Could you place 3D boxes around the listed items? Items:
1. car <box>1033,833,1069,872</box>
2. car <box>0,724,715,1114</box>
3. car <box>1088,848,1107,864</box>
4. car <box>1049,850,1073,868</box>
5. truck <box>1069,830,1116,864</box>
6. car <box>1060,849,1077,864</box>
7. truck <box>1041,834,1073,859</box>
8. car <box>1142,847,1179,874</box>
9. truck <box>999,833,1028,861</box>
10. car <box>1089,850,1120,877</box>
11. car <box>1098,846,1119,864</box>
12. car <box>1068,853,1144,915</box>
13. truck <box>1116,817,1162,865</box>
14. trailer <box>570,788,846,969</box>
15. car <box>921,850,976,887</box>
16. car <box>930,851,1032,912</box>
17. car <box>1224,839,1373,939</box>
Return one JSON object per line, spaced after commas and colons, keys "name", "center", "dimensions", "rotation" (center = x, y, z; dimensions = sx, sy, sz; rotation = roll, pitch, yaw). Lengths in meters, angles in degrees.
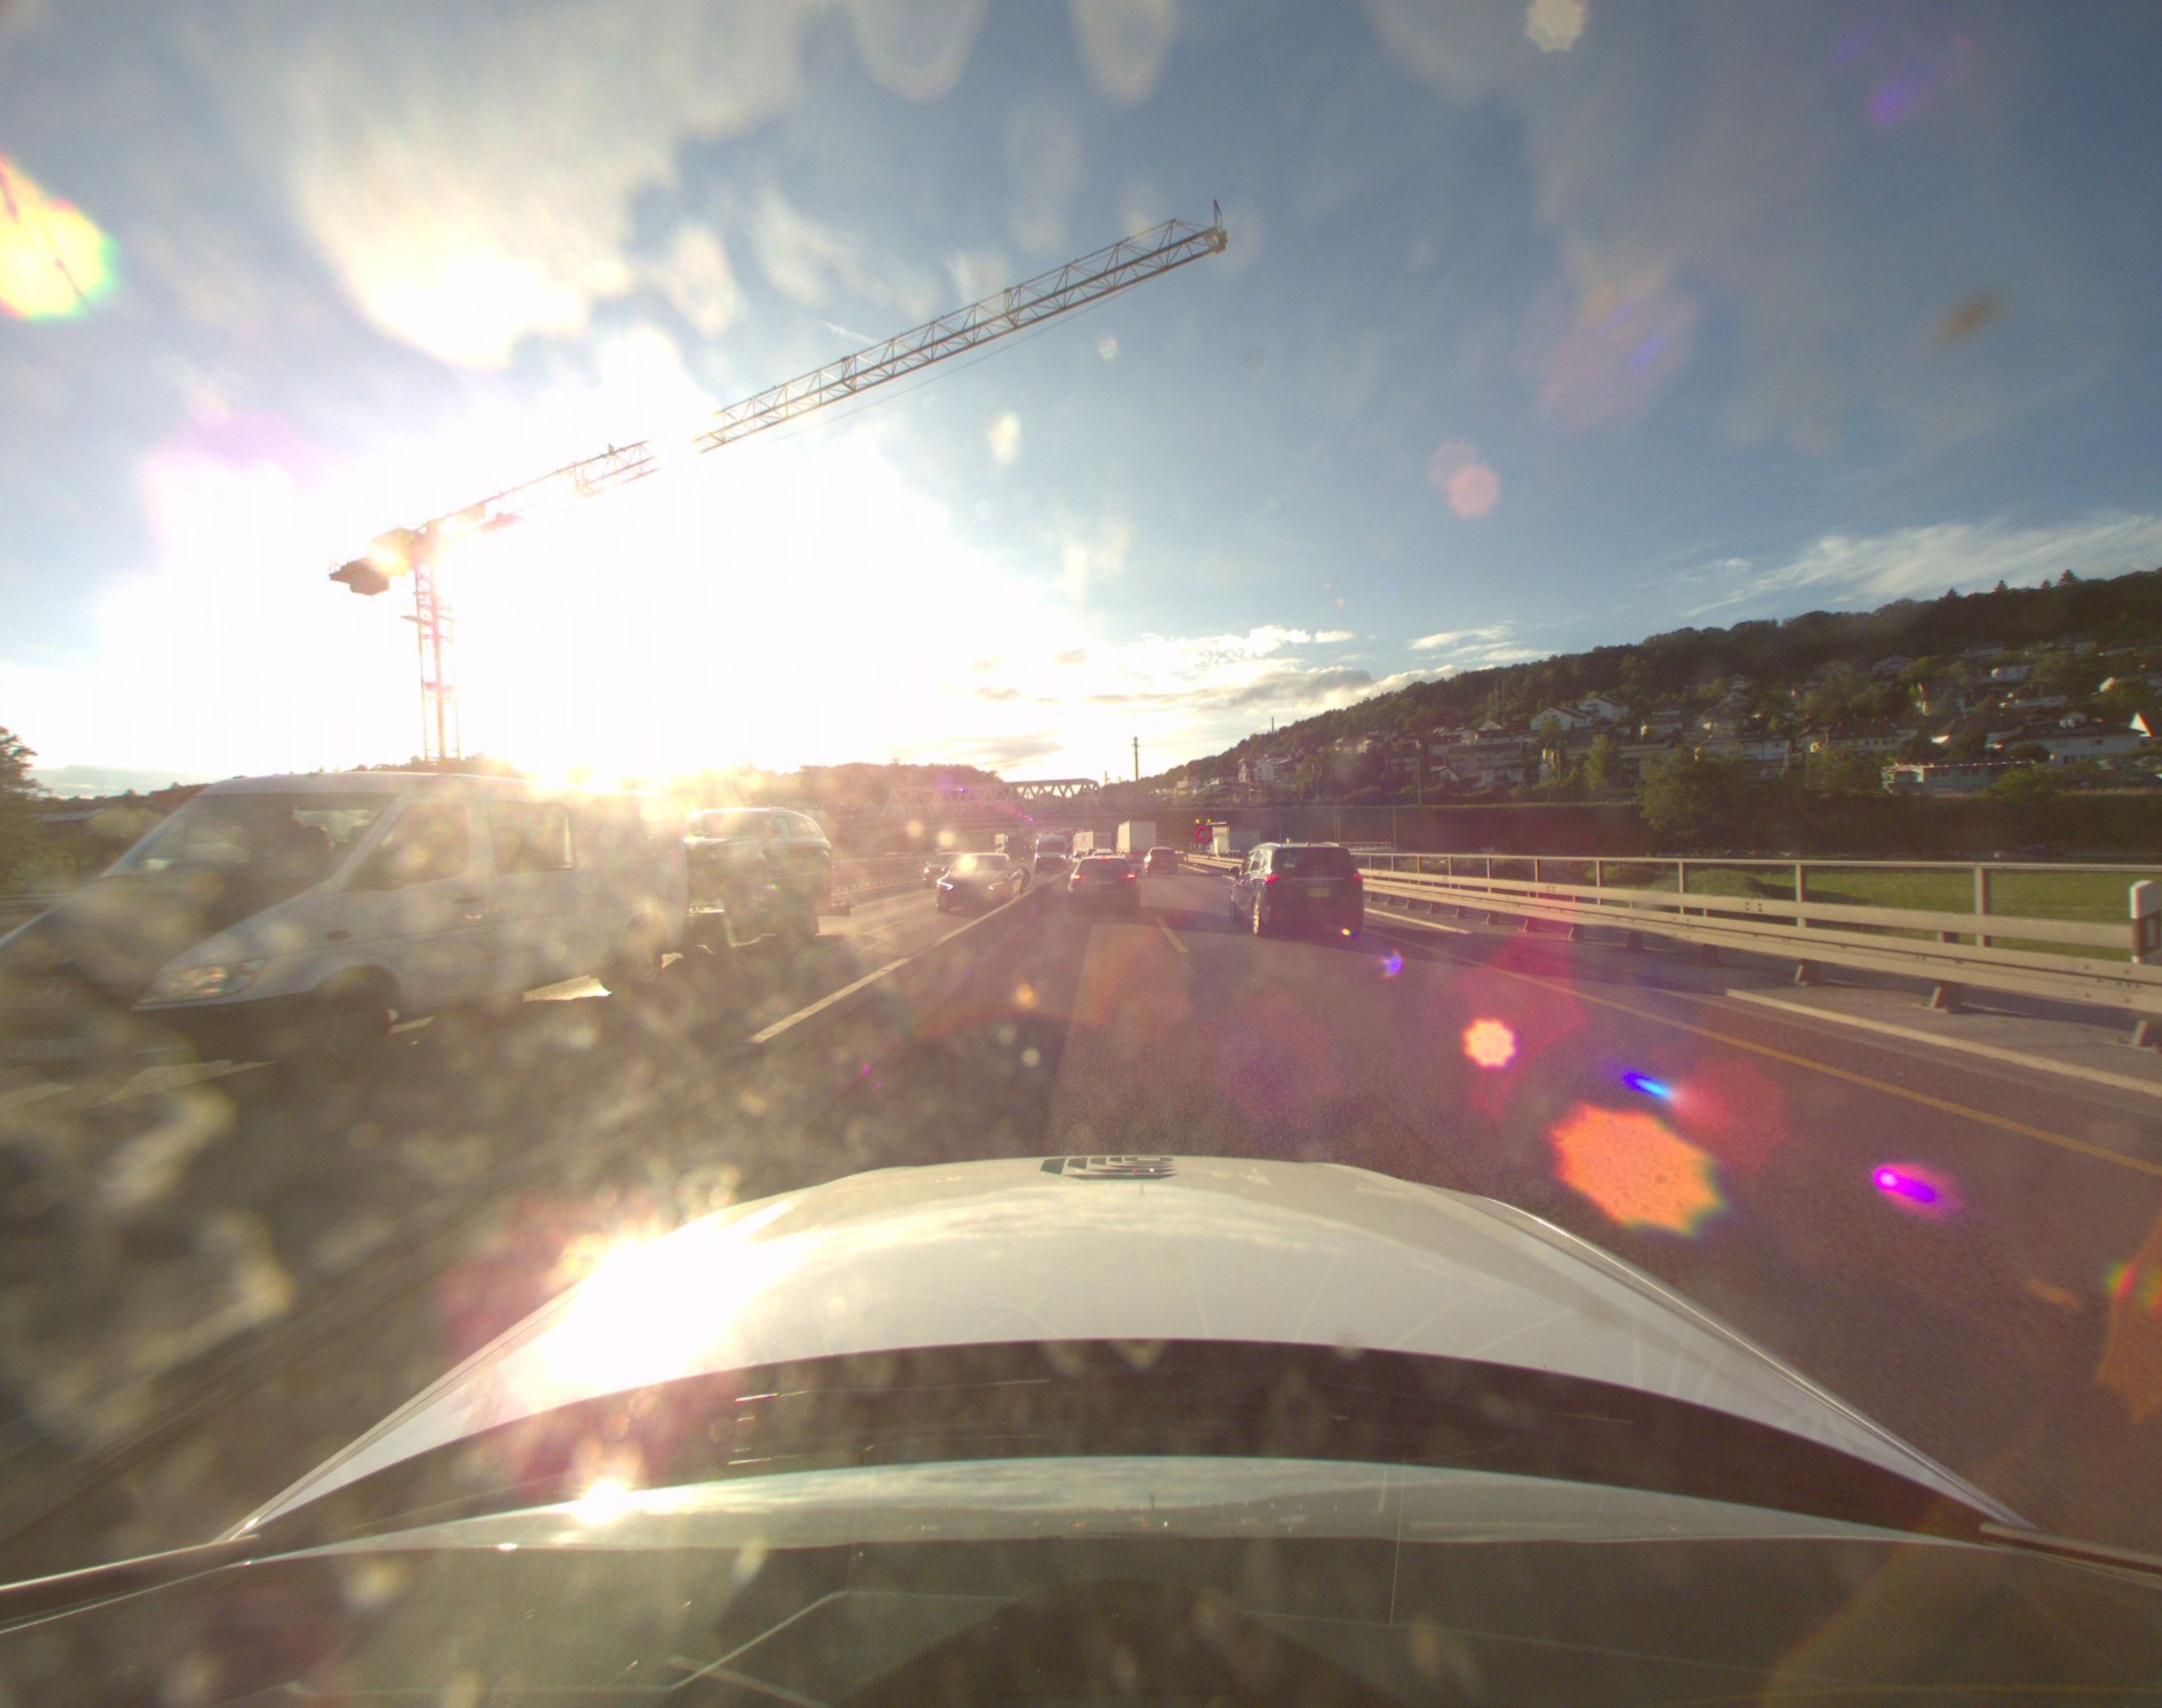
{"name": "car", "center": [-1.924, -0.084, 54.563], "dimensions": [2.066, 2.458, 6.268], "rotation": [0, 0, 1]}
{"name": "car", "center": [-5.927, 0.382, 7.842], "dimensions": [1.986, 2.323, 5.936], "rotation": [0, 0, 1]}
{"name": "car", "center": [1.696, 0.183, 87.006], "dimensions": [1.695, 1.732, 3.995], "rotation": [0, 0, -4]}
{"name": "car", "center": [-1.848, 0.441, 74.789], "dimensions": [1.915, 1.497, 4.369], "rotation": [-1, 0, 2]}
{"name": "truck", "center": [1.413, -0.946, 115.790], "dimensions": [3.891, 4.498, 15.211], "rotation": [0, 0, -11]}
{"name": "car", "center": [-1.364, 0.245, 88.997], "dimensions": [1.787, 1.539, 4.365], "rotation": [-1, 0, -1]}
{"name": "truck", "center": [-4.626, -1.485, 152.226], "dimensions": [3.892, 4.497, 13.798], "rotation": [0, 1, -11]}
{"name": "car", "center": [4.917, 0.365, 50.521], "dimensions": [1.765, 1.552, 3.997], "rotation": [0, 0, -2]}
{"name": "truck", "center": [-9.709, -0.993, 115.430], "dimensions": [2.932, 3.890, 10.224], "rotation": [-1, 0, -11]}
{"name": "car", "center": [1.343, 0.535, 48.139], "dimensions": [1.759, 1.486, 4.000], "rotation": [0, 0, 0]}
{"name": "car", "center": [2.398, 0.053, 69.731], "dimensions": [1.758, 1.486, 4.003], "rotation": [0, 0, 3]}
{"name": "car", "center": [0.602, 0.698, 20.914], "dimensions": [1.764, 1.390, 4.000], "rotation": [0, 0, 1]}
{"name": "truck", "center": [5.687, -1.230, 83.090], "dimensions": [3.376, 4.498, 15.259], "rotation": [0, 0, -1]}
{"name": "trailer", "center": [-5.746, 0.316, 13.509], "dimensions": [2.069, 2.421, 5.220], "rotation": [0, 0, 1]}
{"name": "car", "center": [-5.881, 0.599, 36.510], "dimensions": [1.610, 1.552, 4.090], "rotation": [-1, 0, 2]}
{"name": "car", "center": [-2.692, 0.683, 23.355], "dimensions": [1.986, 1.530, 5.784], "rotation": [-1, 0, 2]}
{"name": "car", "center": [3.963, 0.569, 15.585], "dimensions": [1.807, 1.632, 4.413], "rotation": [0, 0, 2]}
